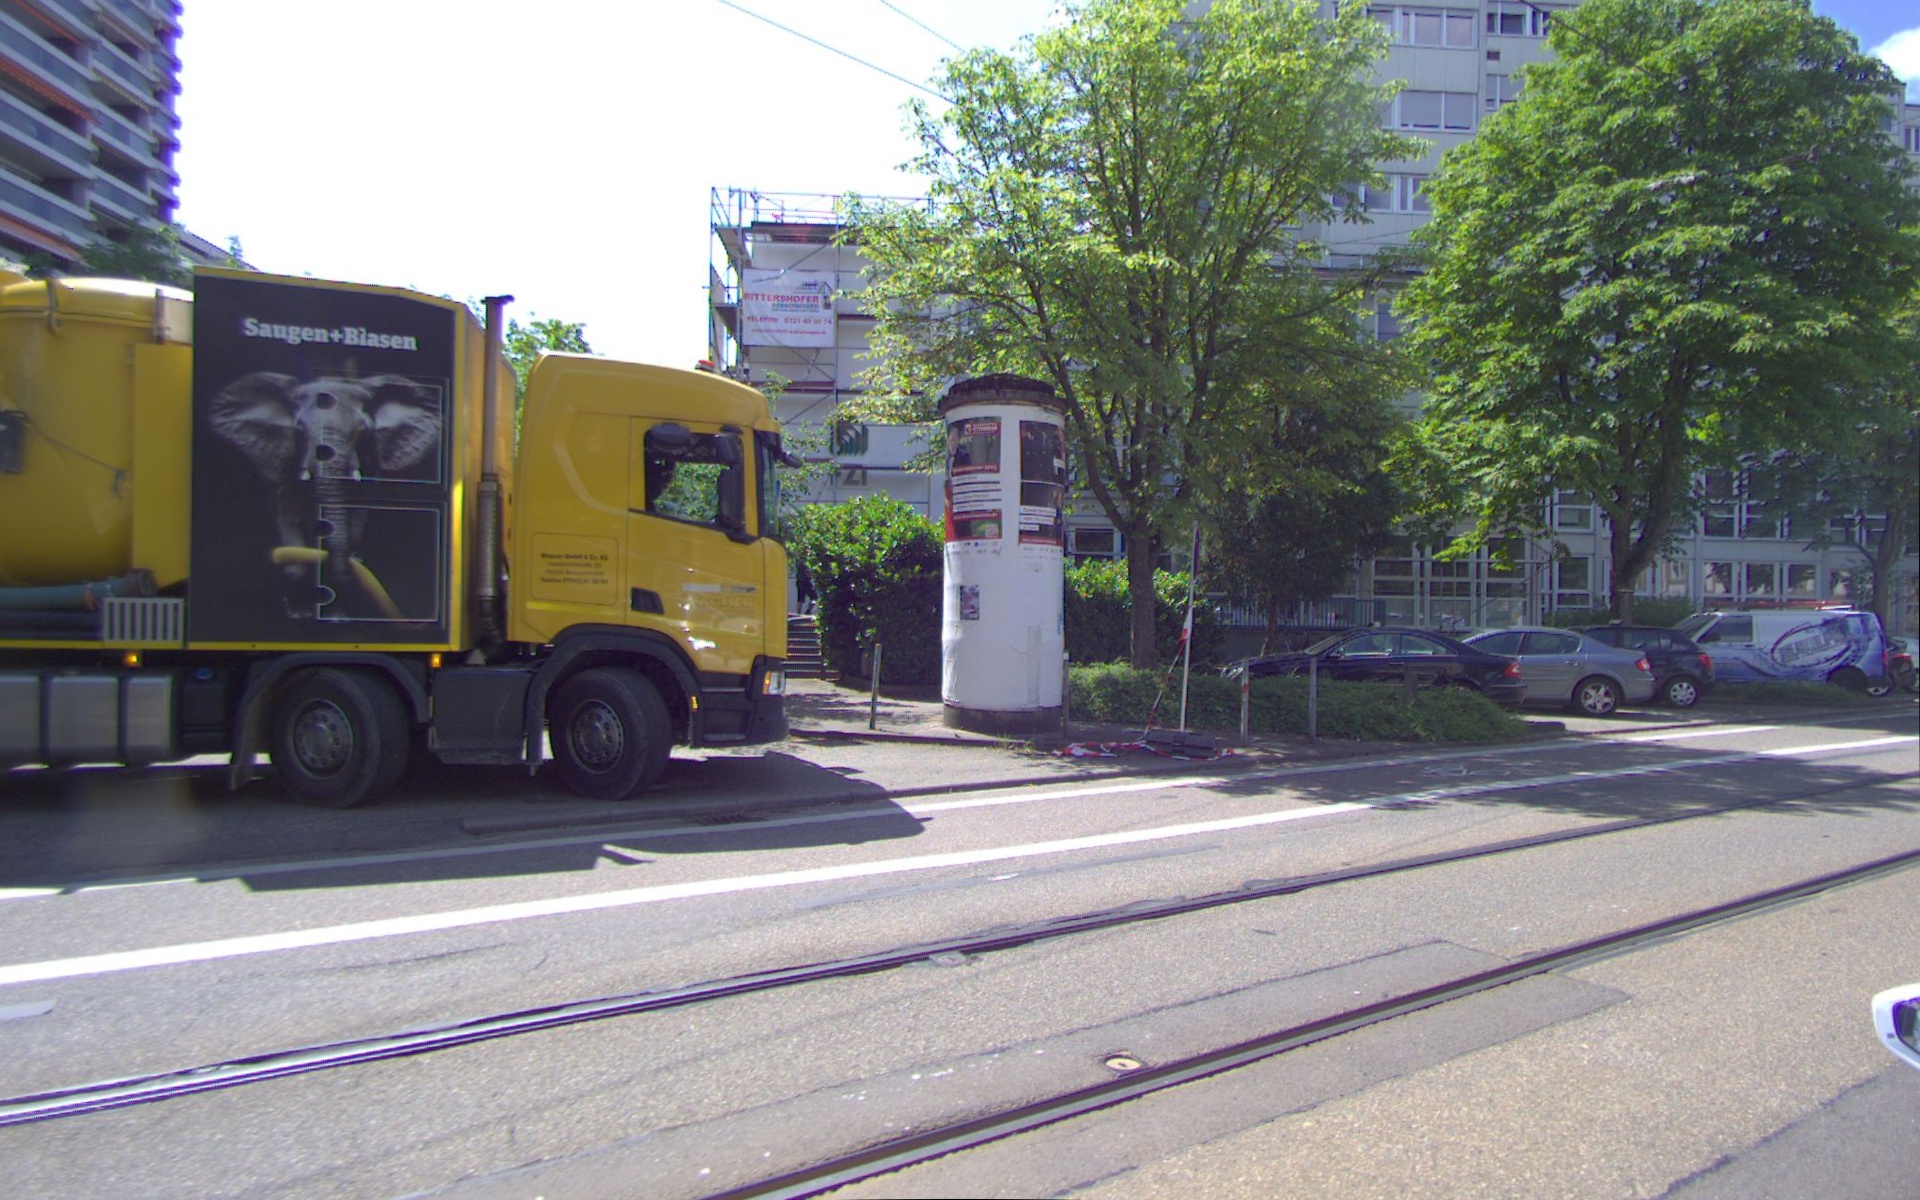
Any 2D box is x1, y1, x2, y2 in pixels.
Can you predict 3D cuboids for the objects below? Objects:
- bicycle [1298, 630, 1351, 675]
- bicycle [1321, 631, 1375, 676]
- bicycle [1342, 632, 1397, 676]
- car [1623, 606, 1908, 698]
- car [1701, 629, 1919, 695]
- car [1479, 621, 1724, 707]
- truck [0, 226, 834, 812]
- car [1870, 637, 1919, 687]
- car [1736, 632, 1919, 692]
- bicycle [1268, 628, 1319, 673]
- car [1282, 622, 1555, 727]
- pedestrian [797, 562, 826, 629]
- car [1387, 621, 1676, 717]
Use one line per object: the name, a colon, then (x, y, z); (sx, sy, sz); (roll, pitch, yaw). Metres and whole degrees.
bicycle: (9.888, 1.413, 27.311); (0.547, 1.089, 2.016); (1, 1, -4)
bicycle: (10.555, 1.435, 27.387); (0.547, 1.089, 2.016); (1, 1, -4)
bicycle: (11.161, 1.452, 27.448); (0.547, 1.089, 2.016); (1, 1, -4)
car: (18.139, 1.158, 22.891); (4.660, 1.960, 1.923); (0, -2, 13)
car: (20.683, 1.489, 24.614); (3.634, 1.526, 1.819); (0, -2, 14)
car: (12.257, 1.197, 19.444); (3.634, 1.564, 1.693); (0, -2, 15)
truck: (-6.619, -0.541, 8.023); (10.785, 3.893, 2.715); (2, 0, -16)
car: (29.613, 1.808, 29.451); (3.919, 1.452, 1.764); (-1, -3, 12)
car: (22.862, 1.587, 26.255); (3.634, 1.486, 1.764); (0, -2, 15)
bicycle: (8.997, 1.332, 27.137); (0.547, 1.089, 2.016); (1, 1, -4)
car: (7.088, 1.130, 15.899); (3.634, 1.526, 1.764); (0, -2, 13)
pedestrian: (-3.548, -0.096, 24.022); (0.608, 1.576, 0.478); (1, -2, -3)
car: (9.836, 1.154, 17.677); (4.120, 1.526, 1.875); (-1, -2, 19)
